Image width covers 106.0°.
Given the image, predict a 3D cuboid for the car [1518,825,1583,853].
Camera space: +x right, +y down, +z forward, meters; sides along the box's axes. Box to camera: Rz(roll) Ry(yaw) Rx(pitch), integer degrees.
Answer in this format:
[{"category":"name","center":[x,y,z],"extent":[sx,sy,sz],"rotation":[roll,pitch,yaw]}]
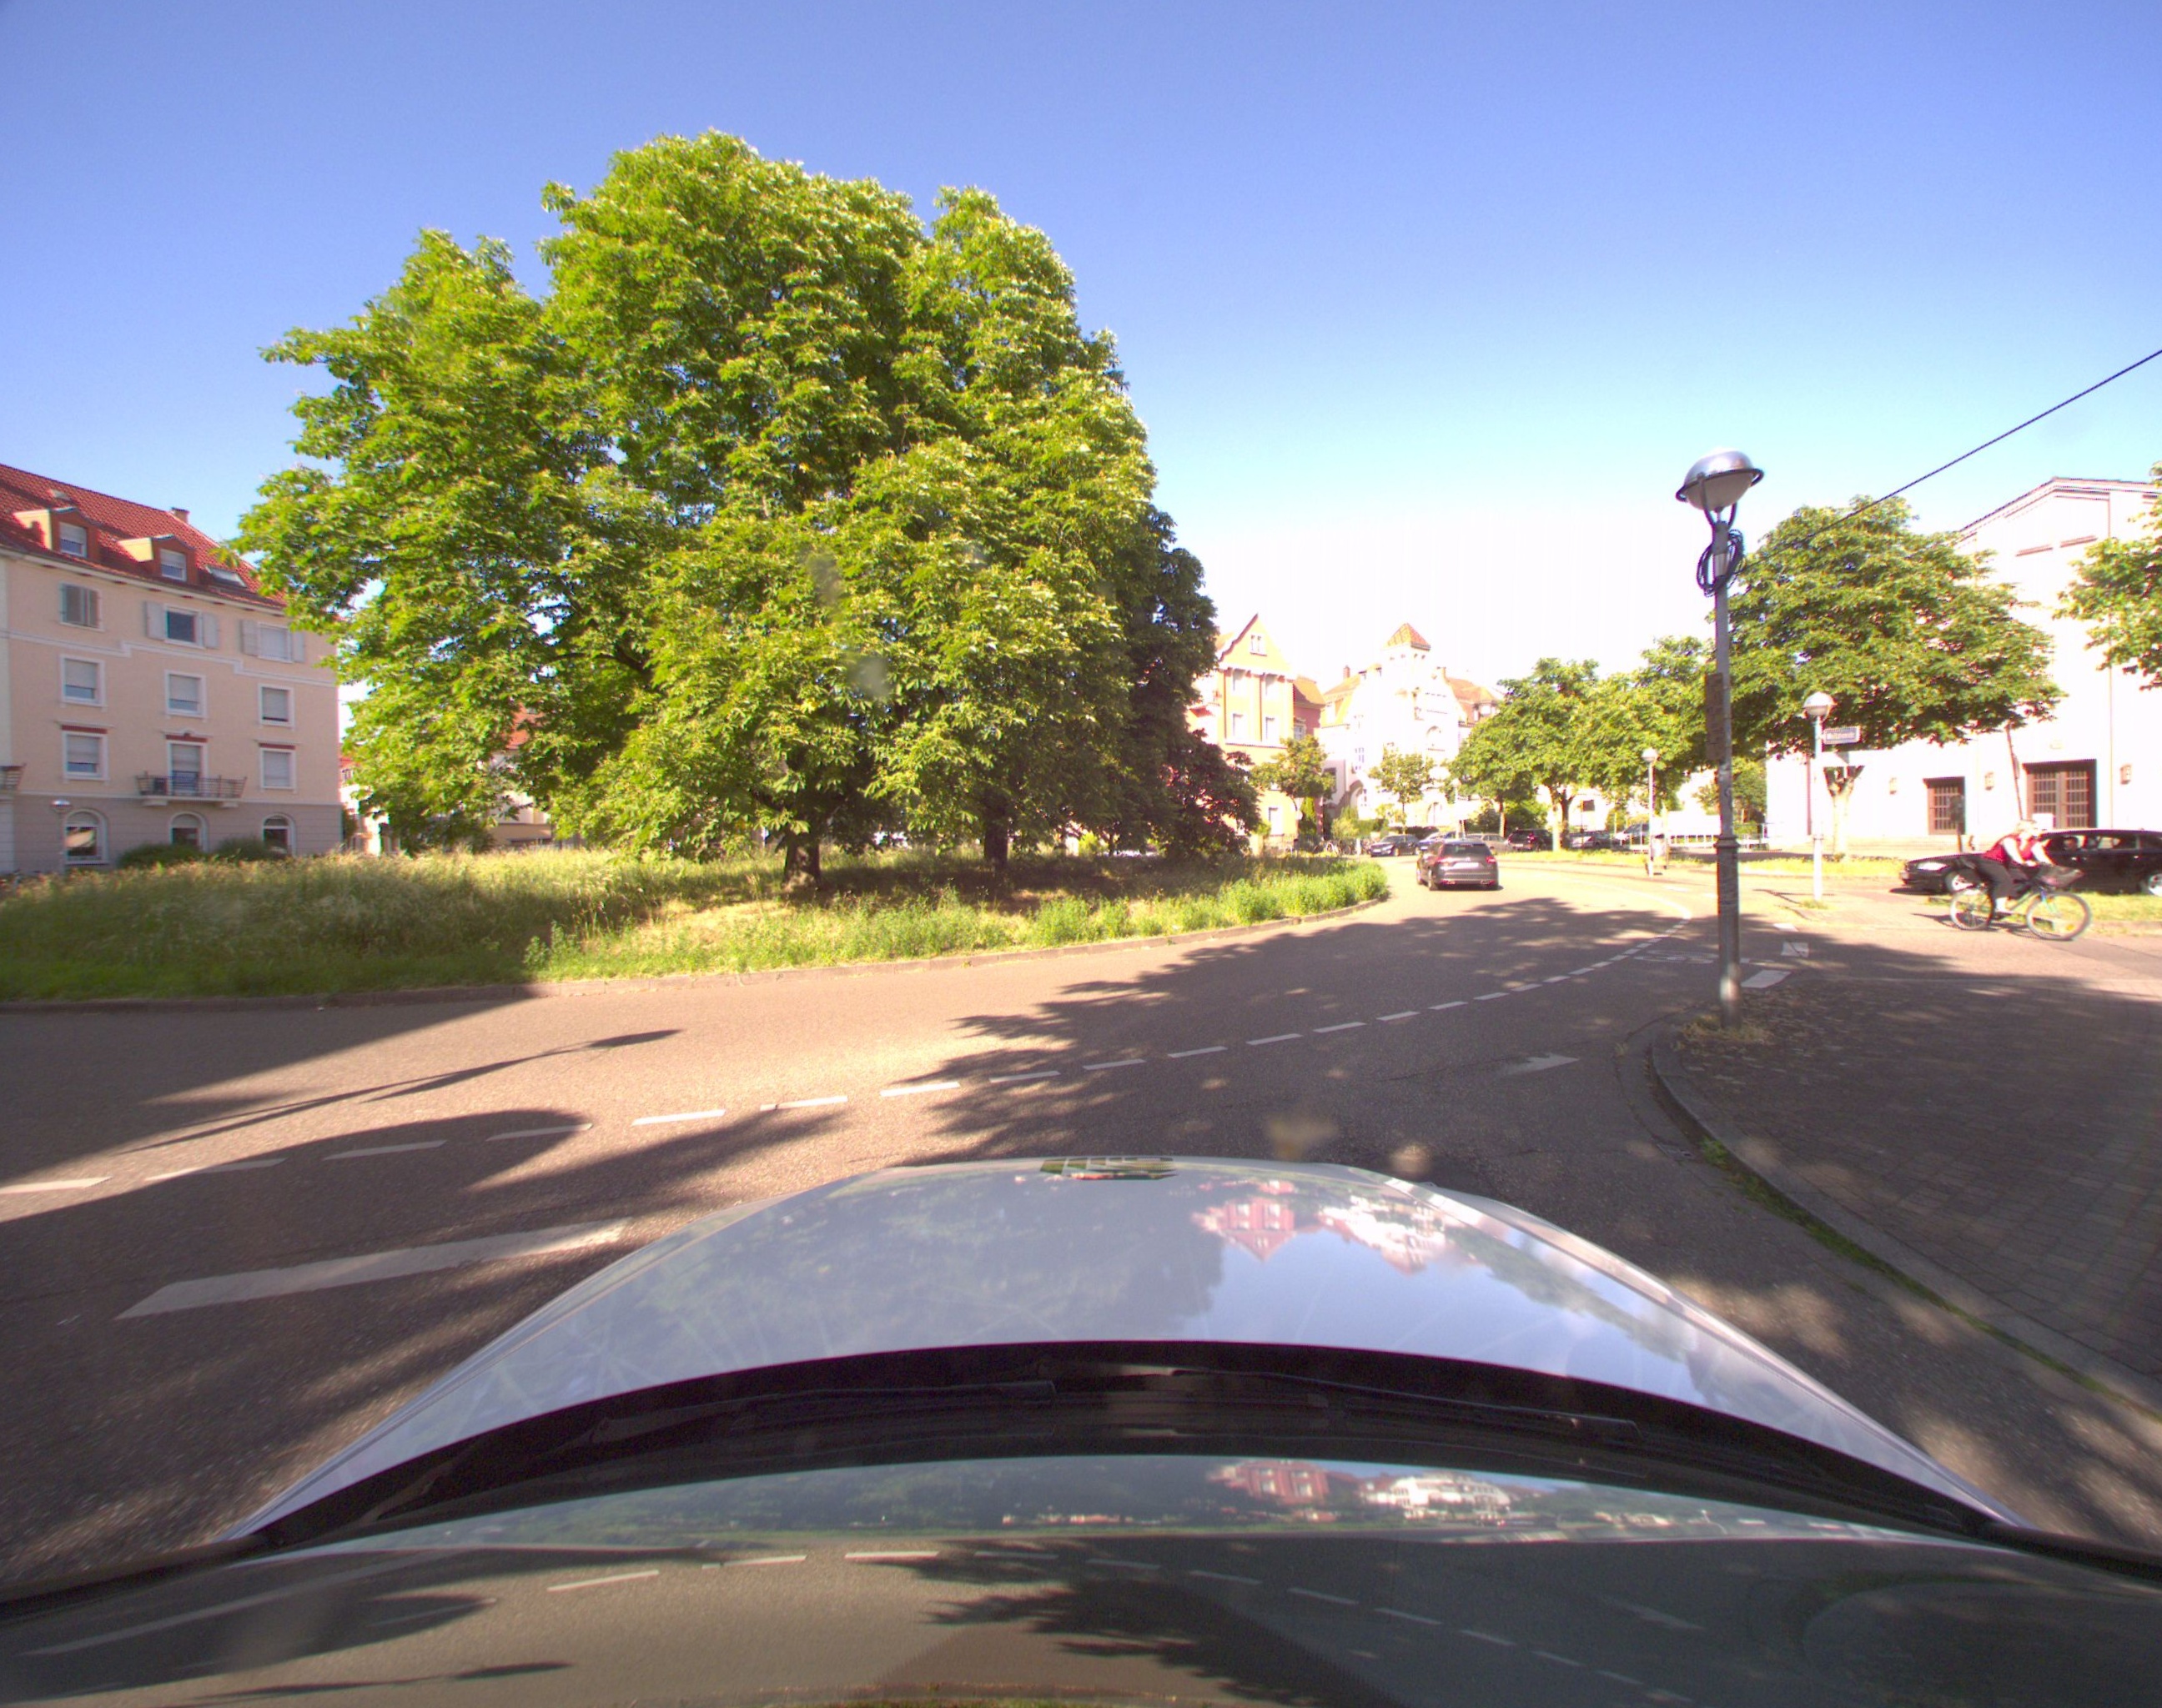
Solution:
[{"category":"car","center":[25.919,-0.830,44.912],"extent":[3.752,1.455,1.544],"rotation":[-2,1,-33]}]

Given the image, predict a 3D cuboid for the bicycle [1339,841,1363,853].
[{"category":"bicycle","center":[19.219,-0.496,58.064],"extent":[0.478,0.822,2.276],"rotation":[-1,1,-13]}]

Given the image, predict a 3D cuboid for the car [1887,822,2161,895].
[{"category":"car","center":[19.771,0.080,16.943],"extent":[3.948,1.387,1.753],"rotation":[-1,1,31]}]

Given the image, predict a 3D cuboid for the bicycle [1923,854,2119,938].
[{"category":"bicycle","center":[12.945,0.536,11.311],"extent":[0.506,1.036,1.873],"rotation":[-1,1,-3]}]

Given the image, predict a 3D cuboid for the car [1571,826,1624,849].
[{"category":"car","center":[34.882,-1.114,54.951],"extent":[3.469,1.436,1.644],"rotation":[-2,1,-31]}]

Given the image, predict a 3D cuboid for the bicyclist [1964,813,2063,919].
[{"category":"bicyclist","center":[12.939,0.154,11.317],"extent":[0.507,1.416,0.741],"rotation":[-1,1,-1]}]

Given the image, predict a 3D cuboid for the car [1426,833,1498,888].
[{"category":"car","center":[11.280,0.139,24.311],"extent":[1.699,1.483,4.167],"rotation":[-1,1,22]}]

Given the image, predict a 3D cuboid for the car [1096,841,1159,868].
[{"category":"car","center":[2.718,0.025,48.181],"extent":[3.601,1.552,1.569],"rotation":[0,1,45]}]

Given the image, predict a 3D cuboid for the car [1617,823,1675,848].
[{"category":"car","center":[36.477,-1.201,52.580],"extent":[3.798,1.455,1.778],"rotation":[-2,1,-33]}]

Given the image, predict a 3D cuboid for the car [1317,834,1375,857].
[{"category":"car","center":[16.930,-0.577,52.037],"extent":[3.661,1.369,1.740],"rotation":[-2,1,-37]}]

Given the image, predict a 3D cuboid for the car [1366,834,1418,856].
[{"category":"car","center":[21.171,-0.629,55.387],"extent":[3.663,1.369,1.739],"rotation":[-2,1,-39]}]

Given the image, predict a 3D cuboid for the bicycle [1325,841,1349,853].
[{"category":"bicycle","center":[17.901,-0.485,56.957],"extent":[0.478,0.800,2.276],"rotation":[-1,1,-13]}]

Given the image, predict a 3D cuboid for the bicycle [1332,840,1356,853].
[{"category":"bicycle","center":[18.474,-0.513,57.249],"extent":[0.478,0.914,2.276],"rotation":[-1,1,-13]}]

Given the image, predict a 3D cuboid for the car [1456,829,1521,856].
[{"category":"car","center":[23.831,-0.681,47.589],"extent":[3.992,1.455,1.544],"rotation":[-2,1,-33]}]

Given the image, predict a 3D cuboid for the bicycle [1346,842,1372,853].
[{"category":"bicycle","center":[19.881,-0.486,58.281],"extent":[0.625,0.785,2.276],"rotation":[-2,1,-13]}]

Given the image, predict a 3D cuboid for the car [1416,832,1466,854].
[{"category":"car","center":[25.841,-0.790,58.391],"extent":[3.490,1.488,1.654],"rotation":[-2,1,-34]}]

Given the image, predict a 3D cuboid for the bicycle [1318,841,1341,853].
[{"category":"bicycle","center":[17.302,-0.479,56.765],"extent":[0.479,0.800,2.016],"rotation":[-2,1,-18]}]
